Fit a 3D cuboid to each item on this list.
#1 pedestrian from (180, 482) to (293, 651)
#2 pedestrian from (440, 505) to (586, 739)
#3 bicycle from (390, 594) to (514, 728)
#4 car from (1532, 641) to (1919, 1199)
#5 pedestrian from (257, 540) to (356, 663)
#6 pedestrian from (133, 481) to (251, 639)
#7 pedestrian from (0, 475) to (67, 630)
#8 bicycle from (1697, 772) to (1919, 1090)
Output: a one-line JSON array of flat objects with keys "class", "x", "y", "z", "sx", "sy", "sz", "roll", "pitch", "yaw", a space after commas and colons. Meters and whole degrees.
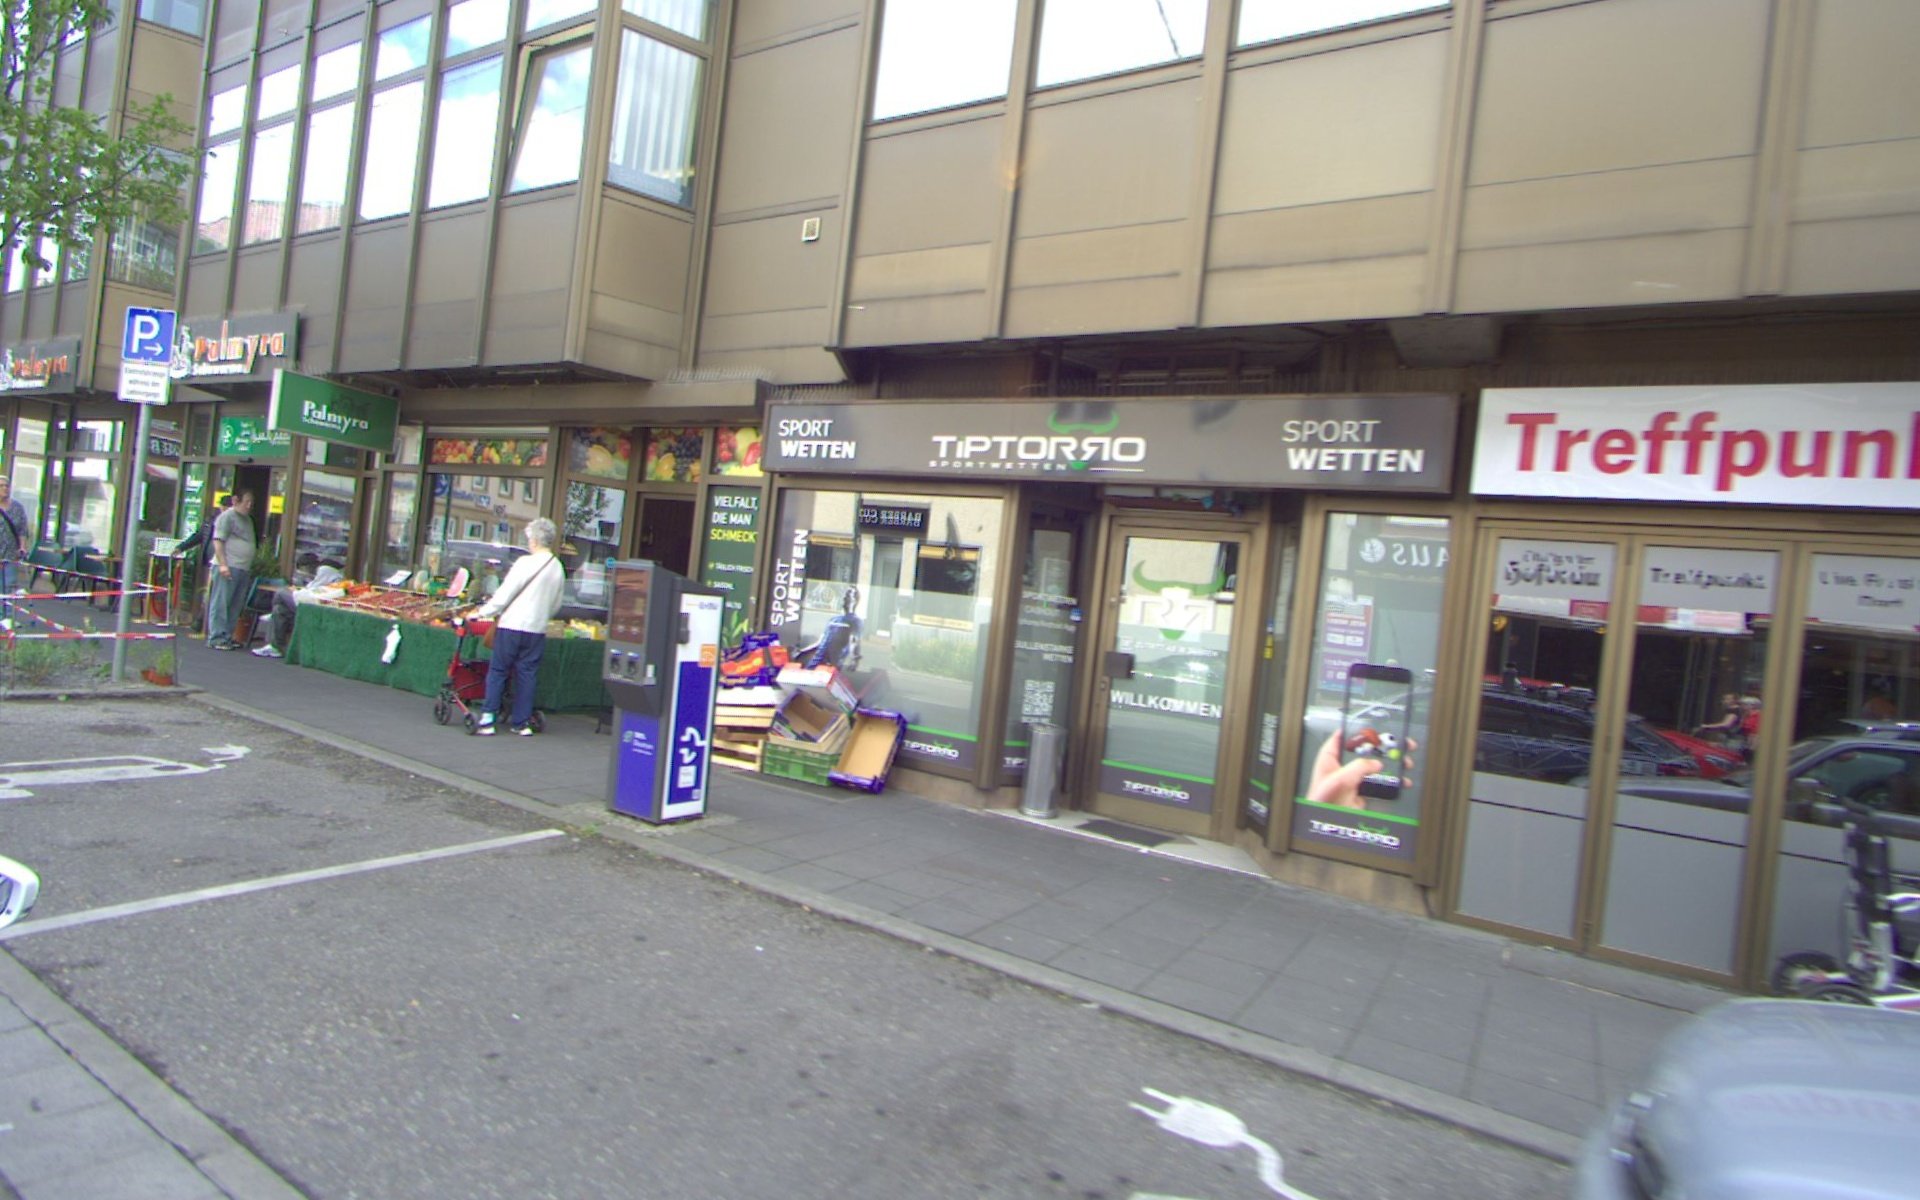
[{"class": "pedestrian", "x": -8.259, "y": -0.371, "z": 11.497, "sx": 0.700, "sy": 1.837, "sz": 0.737, "roll": 6, "pitch": 2, "yaw": 32}, {"class": "pedestrian", "x": -3.560, "y": 0.178, "z": 8.053, "sx": 0.635, "sy": 1.727, "sz": 0.658, "roll": 7, "pitch": 0, "yaw": 9}, {"class": "bicycle", "x": -4.130, "y": 0.495, "z": 8.208, "sx": 0.548, "sy": 0.990, "sz": 0.604, "roll": 7, "pitch": -2, "yaw": 8}, {"class": "car", "x": 2.758, "y": 1.026, "z": 1.012, "sx": 3.733, "sy": 1.515, "sz": 1.609, "roll": 7, "pitch": 3, "yaw": 33}, {"class": "pedestrian", "x": -7.312, "y": 0.023, "z": 11.263, "sx": 0.603, "sy": 1.268, "sz": 0.622, "roll": 6, "pitch": -2, "yaw": 34}, {"class": "pedestrian", "x": -9.568, "y": -0.485, "z": 12.553, "sx": 0.643, "sy": 1.834, "sz": 0.811, "roll": 6, "pitch": -2, "yaw": 32}, {"class": "pedestrian", "x": -10.624, "y": -0.547, "z": 11.149, "sx": 0.787, "sy": 1.635, "sz": 0.785, "roll": 6, "pitch": 0, "yaw": 32}, {"class": "bicycle", "x": 3.937, "y": 1.355, "z": 4.018, "sx": 1.452, "sy": 1.059, "sz": 0.721, "roll": 6, "pitch": -2, "yaw": 32}]
